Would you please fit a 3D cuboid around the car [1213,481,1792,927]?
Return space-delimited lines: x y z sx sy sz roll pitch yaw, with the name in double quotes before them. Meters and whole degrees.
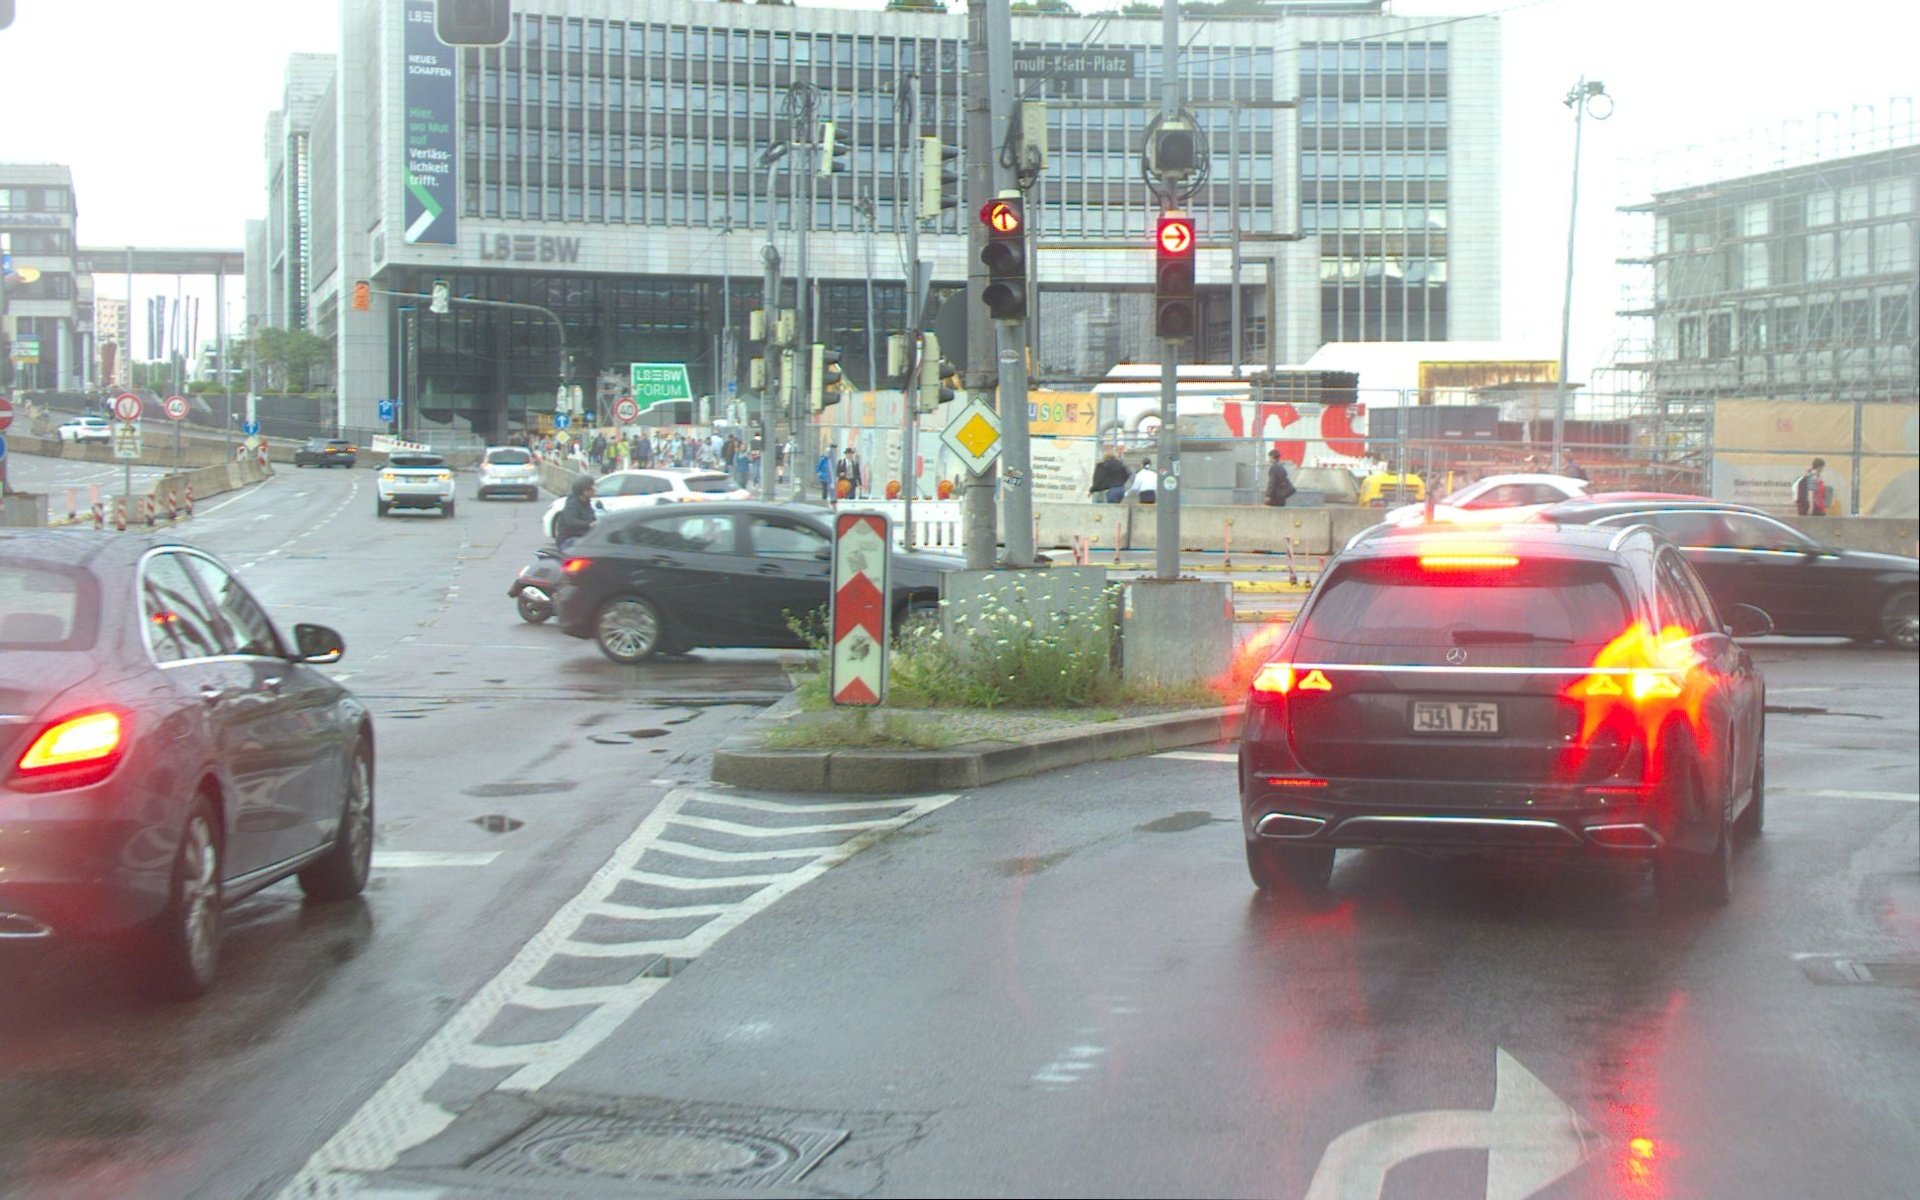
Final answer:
"car" 2.395 0.352 14.287 1.892 1.538 3.990 1 1 16

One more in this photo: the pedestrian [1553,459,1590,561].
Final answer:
"pedestrian" 11.419 -1.680 64.237 0.574 1.891 0.362 1 0 -1

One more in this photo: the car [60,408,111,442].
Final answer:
"car" -50.324 -10.070 197.854 1.993 1.809 4.001 1 1 -27

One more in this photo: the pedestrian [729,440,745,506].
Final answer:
"pedestrian" -6.506 -3.704 100.247 0.361 1.891 0.576 1 0 -11

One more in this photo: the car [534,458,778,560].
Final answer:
"car" -5.548 -1.650 62.352 4.416 1.760 1.995 2 1 45

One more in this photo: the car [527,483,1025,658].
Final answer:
"car" -1.601 -0.262 30.728 4.100 1.501 1.999 0 0 10

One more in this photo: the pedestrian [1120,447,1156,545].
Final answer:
"pedestrian" 3.470 -2.023 66.884 0.361 1.891 0.576 1 0 -41

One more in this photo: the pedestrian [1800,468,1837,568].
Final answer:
"pedestrian" 16.431 -1.564 65.798 0.574 1.891 0.362 1 0 2

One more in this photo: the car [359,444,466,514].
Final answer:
"car" -13.819 -3.034 86.604 1.993 1.634 4.001 1 1 -18

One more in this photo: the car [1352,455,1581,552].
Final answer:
"car" 8.289 -1.572 56.455 3.548 1.468 1.786 1 0 4

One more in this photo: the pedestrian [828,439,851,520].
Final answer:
"pedestrian" -2.843 -2.842 81.127 0.361 1.891 0.576 1 0 -20

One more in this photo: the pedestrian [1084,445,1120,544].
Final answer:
"pedestrian" 2.735 -2.035 66.345 0.361 1.891 0.576 1 0 -41

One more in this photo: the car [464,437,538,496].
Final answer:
"car" -14.054 -4.096 105.056 1.727 1.634 3.436 1 4 -16

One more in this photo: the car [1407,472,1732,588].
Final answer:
"car" 7.468 -0.850 42.262 3.532 1.300 1.666 1 0 -12

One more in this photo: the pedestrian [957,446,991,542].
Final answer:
"pedestrian" 0.279 -2.116 68.755 0.361 1.891 0.576 1 0 -41

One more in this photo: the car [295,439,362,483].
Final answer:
"car" -30.979 -6.806 168.595 1.993 2.007 4.000 1 1 -30

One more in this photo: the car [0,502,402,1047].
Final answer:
"car" -3.192 0.416 11.705 1.783 1.397 4.487 1 2 1

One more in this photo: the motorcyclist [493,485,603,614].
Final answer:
"motorcyclist" -4.436 -0.543 37.074 0.945 1.353 0.849 1 0 9

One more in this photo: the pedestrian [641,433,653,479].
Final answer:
"pedestrian" -13.061 -5.990 143.472 0.361 1.891 0.576 1 0 -11

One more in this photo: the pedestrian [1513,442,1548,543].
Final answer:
"pedestrian" 10.864 -2.042 65.457 0.574 1.891 0.362 1 0 2

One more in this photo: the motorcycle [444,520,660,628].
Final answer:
"motorcycle" -4.397 -0.284 37.096 2.137 1.104 0.851 1 0 9

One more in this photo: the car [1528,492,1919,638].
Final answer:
"car" 7.867 -0.342 34.501 4.099 1.340 2.000 1 0 5

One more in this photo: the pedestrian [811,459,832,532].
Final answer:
"pedestrian" -3.599 -2.716 89.302 0.361 1.891 0.577 1 0 -16

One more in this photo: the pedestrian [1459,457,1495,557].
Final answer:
"pedestrian" 9.872 -1.781 65.624 0.575 1.891 0.362 1 0 20

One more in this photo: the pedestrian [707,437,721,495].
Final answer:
"pedestrian" -8.154 -4.426 113.937 0.361 1.891 0.576 1 0 -11

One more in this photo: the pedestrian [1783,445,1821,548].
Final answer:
"pedestrian" 15.586 -1.915 63.622 0.574 1.891 0.362 1 0 2

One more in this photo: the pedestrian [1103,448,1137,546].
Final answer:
"pedestrian" 3.103 -1.985 66.558 0.361 1.891 0.576 -1 1 -39

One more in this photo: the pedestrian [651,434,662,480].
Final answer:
"pedestrian" -12.660 -5.984 143.555 0.361 1.891 0.576 1 0 -11

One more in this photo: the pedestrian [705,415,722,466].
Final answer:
"pedestrian" -9.388 -6.065 130.936 0.519 1.891 0.576 1 0 -11
